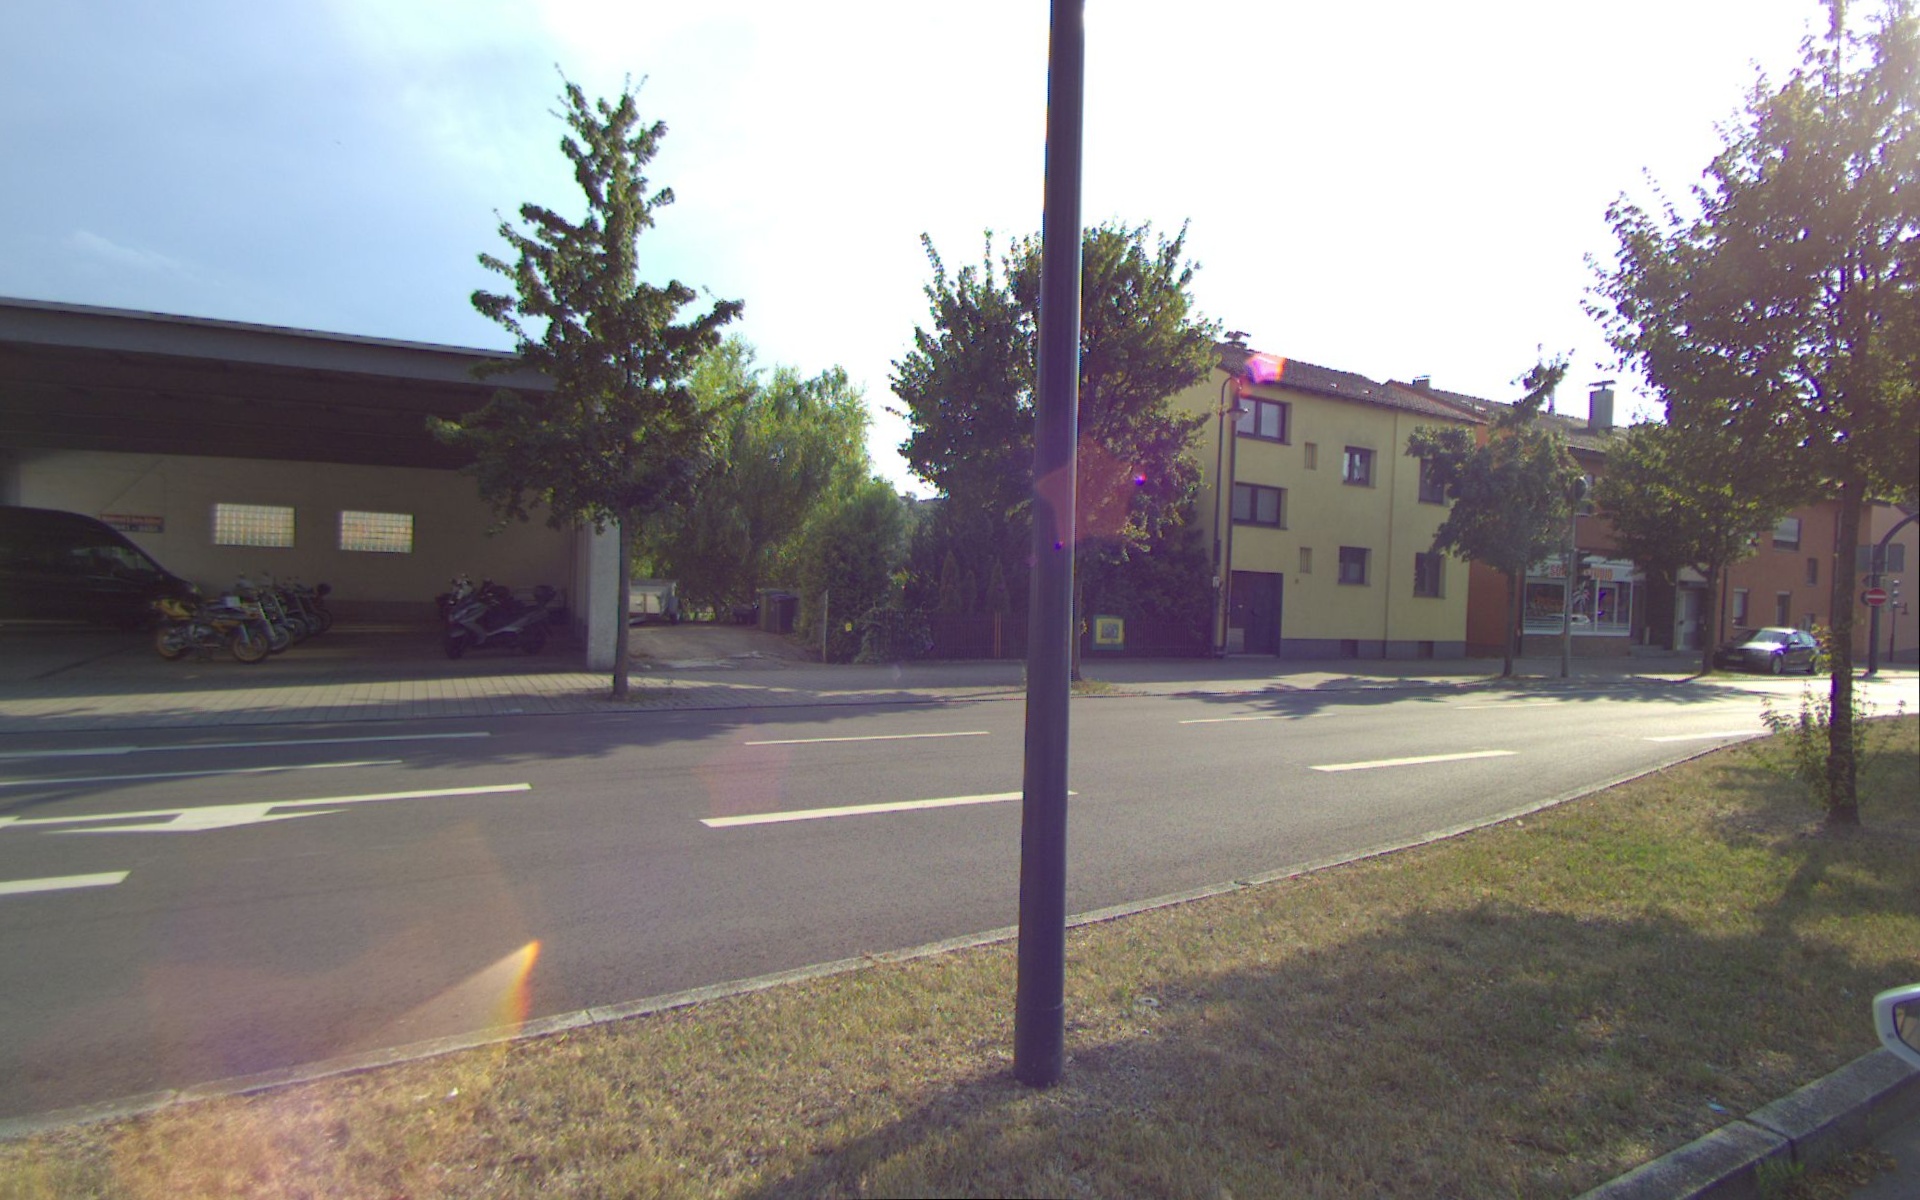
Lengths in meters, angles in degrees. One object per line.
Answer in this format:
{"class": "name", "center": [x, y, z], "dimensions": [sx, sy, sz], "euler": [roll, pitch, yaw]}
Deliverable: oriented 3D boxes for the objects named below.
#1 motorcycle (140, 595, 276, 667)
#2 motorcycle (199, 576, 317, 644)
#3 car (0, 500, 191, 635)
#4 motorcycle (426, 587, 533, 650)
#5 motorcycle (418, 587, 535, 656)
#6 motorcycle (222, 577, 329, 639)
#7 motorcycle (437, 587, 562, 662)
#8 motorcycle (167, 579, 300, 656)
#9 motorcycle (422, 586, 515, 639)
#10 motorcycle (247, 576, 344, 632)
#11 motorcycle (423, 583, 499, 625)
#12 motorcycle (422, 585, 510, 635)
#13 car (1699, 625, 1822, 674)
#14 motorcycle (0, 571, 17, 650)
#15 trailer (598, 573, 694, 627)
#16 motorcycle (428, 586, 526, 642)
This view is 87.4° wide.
{"class": "motorcycle", "center": [-12.498, 0.501, 16.698], "dimensions": [1.993, 1.101, 0.631], "euler": [1, 0, 12]}
{"class": "motorcycle", "center": [-14.754, 0.203, 21.106], "dimensions": [2.219, 1.354, 0.631], "euler": [1, 0, 10]}
{"class": "car", "center": [-20.453, -0.683, 22.094], "dimensions": [1.962, 2.789, 5.280], "euler": [1, 0, 26]}
{"class": "motorcycle", "center": [-10.743, 0.382, 22.538], "dimensions": [0.621, 1.314, 2.113], "euler": [1, 2, 36]}
{"class": "motorcycle", "center": [-9.813, 0.400, 20.461], "dimensions": [0.621, 1.314, 2.113], "euler": [1, 2, 36]}
{"class": "motorcycle", "center": [-15.885, 0.180, 23.316], "dimensions": [2.219, 1.354, 0.631], "euler": [1, 0, 10]}
{"class": "motorcycle", "center": [-8.620, 0.428, 18.898], "dimensions": [0.621, 1.314, 2.113], "euler": [1, 2, 36]}
{"class": "motorcycle", "center": [-13.633, 0.317, 18.864], "dimensions": [2.219, 1.354, 0.631], "euler": [1, 0, 10]}
{"class": "motorcycle", "center": [-12.649, 0.291, 25.922], "dimensions": [0.621, 1.314, 2.113], "euler": [1, 2, 36]}
{"class": "motorcycle", "center": [-16.910, 0.101, 25.575], "dimensions": [2.219, 1.354, 0.631], "euler": [1, 0, 10]}
{"class": "motorcycle", "center": [-15.960, 0.101, 32.179], "dimensions": [0.621, 1.314, 2.113], "euler": [1, 2, 36]}
{"class": "motorcycle", "center": [-13.514, 0.239, 27.520], "dimensions": [0.621, 1.314, 2.113], "euler": [1, 2, 36]}
{"class": "car", "center": [25.969, 1.594, 32.553], "dimensions": [3.953, 1.319, 1.728], "euler": [1, 4, -30]}
{"class": "motorcycle", "center": [-17.288, 0.167, 16.726], "dimensions": [0.619, 1.380, 2.225], "euler": [1, 0, 24]}
{"class": "trailer", "center": [-8.218, -0.008, 26.619], "dimensions": [1.698, 1.280, 3.995], "euler": [1, 0, -7]}
{"class": "motorcycle", "center": [-11.767, 0.311, 24.539], "dimensions": [0.621, 1.314, 2.113], "euler": [1, 2, 36]}
